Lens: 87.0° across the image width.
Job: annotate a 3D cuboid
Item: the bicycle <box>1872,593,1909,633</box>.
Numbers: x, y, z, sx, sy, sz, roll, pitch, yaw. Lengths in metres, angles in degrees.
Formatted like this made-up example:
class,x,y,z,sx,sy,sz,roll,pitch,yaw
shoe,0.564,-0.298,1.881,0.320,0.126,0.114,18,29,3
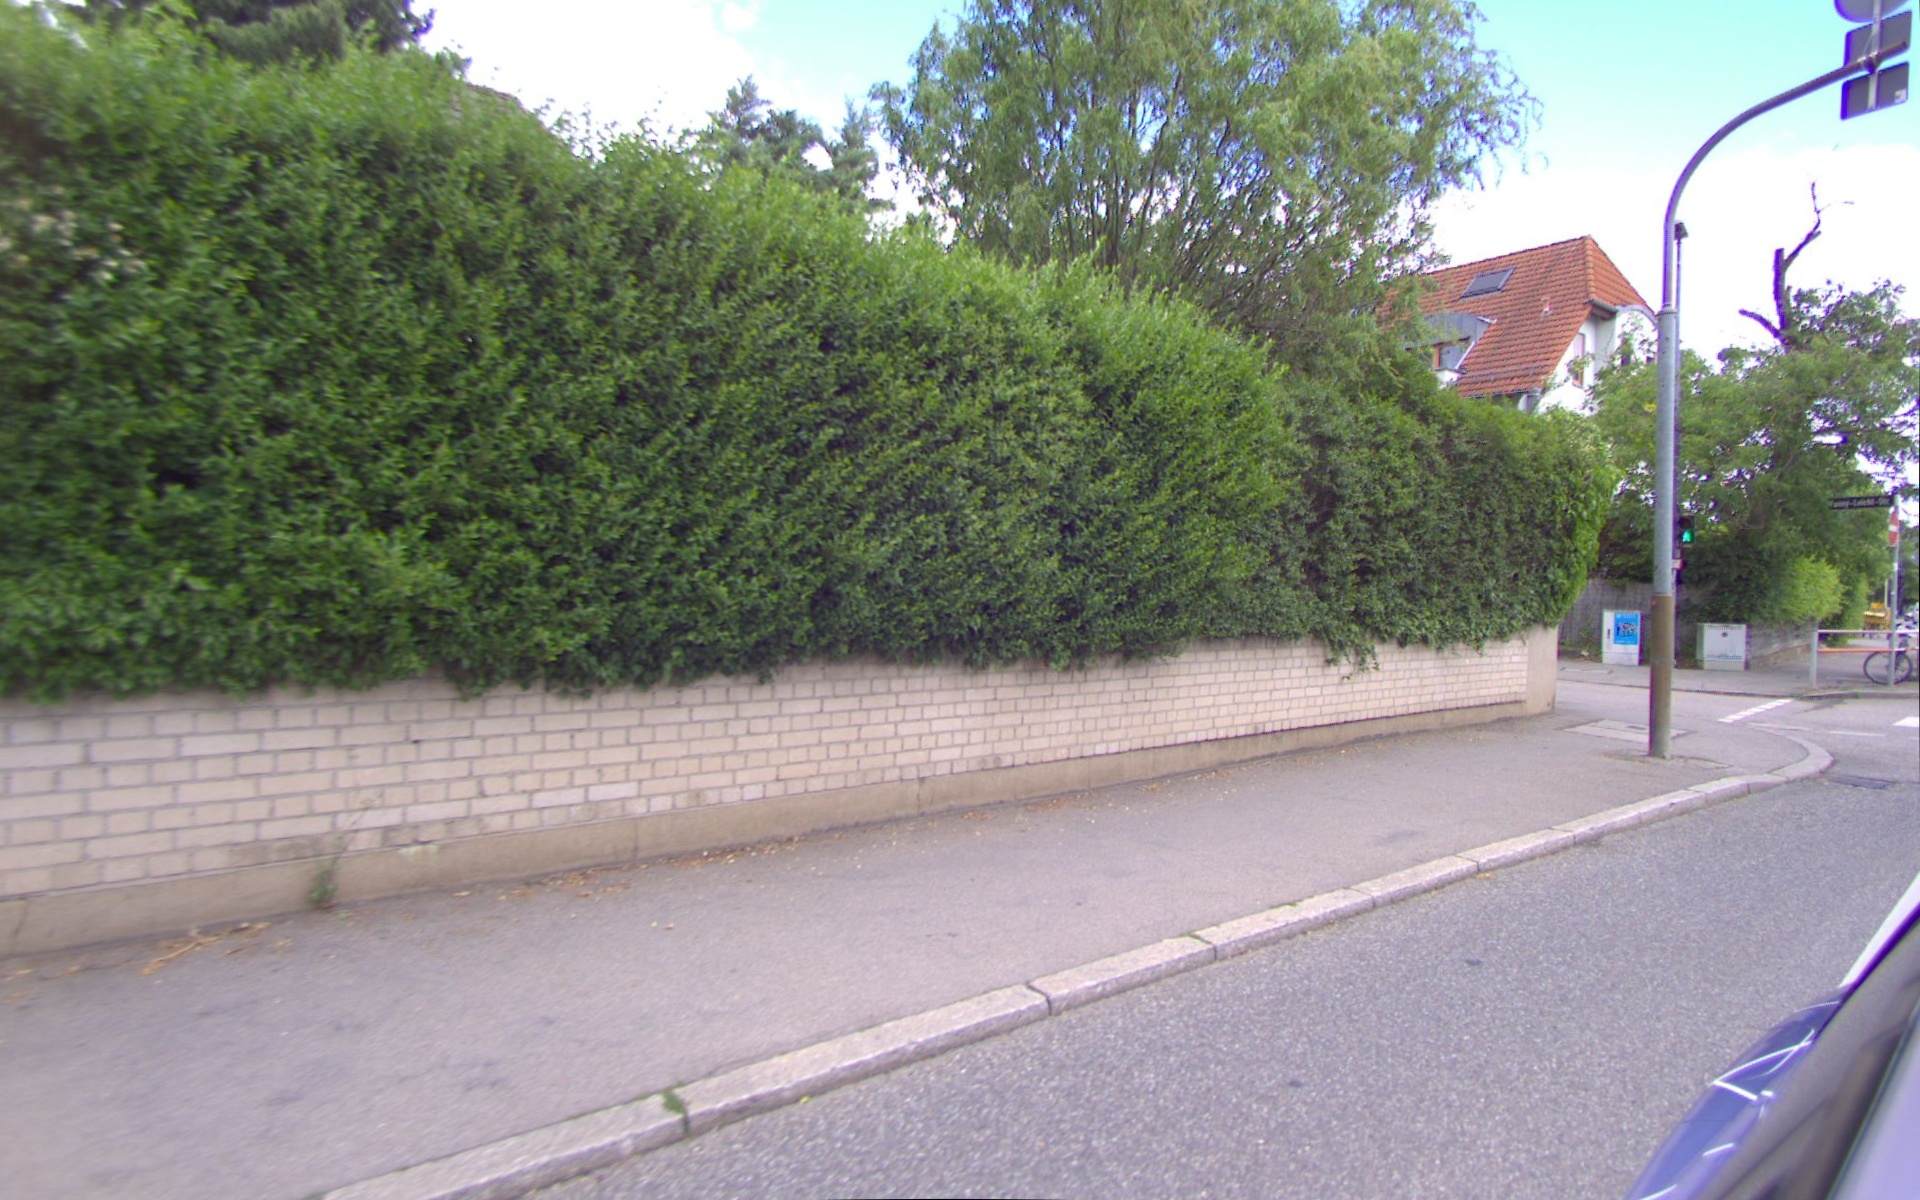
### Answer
class,x,y,z,sx,sy,sz,roll,pitch,yaw
bicycle,38.056,0.505,41.382,2.738,1.528,0.893,0,5,-45

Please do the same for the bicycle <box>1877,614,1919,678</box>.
class,x,y,z,sx,sy,sz,roll,pitch,yaw
bicycle,16.431,0.776,17.565,1.478,1.041,0.629,0,1,-42
